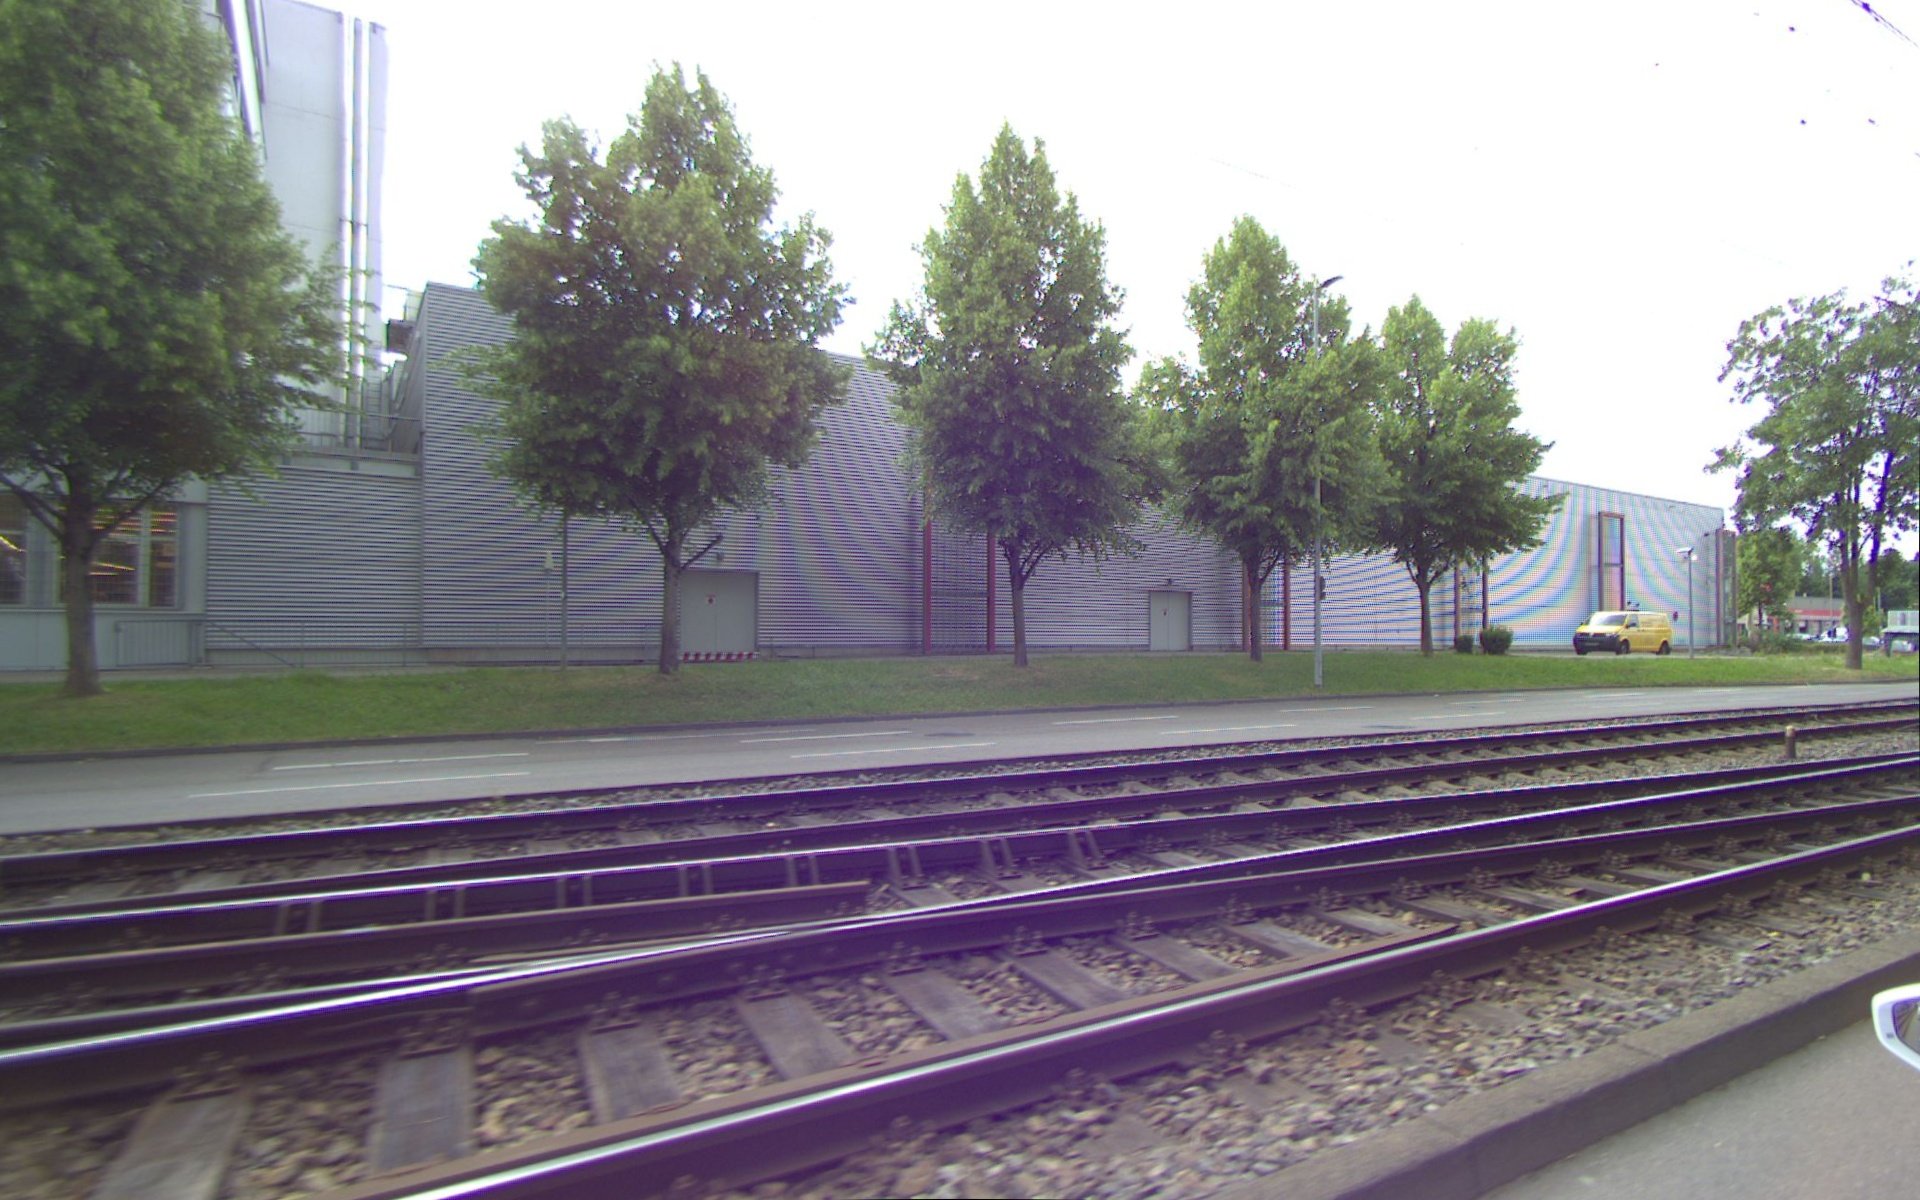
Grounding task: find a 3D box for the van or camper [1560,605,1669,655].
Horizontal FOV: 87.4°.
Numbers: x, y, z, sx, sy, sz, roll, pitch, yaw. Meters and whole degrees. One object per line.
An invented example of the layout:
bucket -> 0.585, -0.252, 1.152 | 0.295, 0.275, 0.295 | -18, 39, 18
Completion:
van or camper -> 28.455, 1.310, 43.622 | 5.186, 2.040, 2.091 | 1, -1, -33
